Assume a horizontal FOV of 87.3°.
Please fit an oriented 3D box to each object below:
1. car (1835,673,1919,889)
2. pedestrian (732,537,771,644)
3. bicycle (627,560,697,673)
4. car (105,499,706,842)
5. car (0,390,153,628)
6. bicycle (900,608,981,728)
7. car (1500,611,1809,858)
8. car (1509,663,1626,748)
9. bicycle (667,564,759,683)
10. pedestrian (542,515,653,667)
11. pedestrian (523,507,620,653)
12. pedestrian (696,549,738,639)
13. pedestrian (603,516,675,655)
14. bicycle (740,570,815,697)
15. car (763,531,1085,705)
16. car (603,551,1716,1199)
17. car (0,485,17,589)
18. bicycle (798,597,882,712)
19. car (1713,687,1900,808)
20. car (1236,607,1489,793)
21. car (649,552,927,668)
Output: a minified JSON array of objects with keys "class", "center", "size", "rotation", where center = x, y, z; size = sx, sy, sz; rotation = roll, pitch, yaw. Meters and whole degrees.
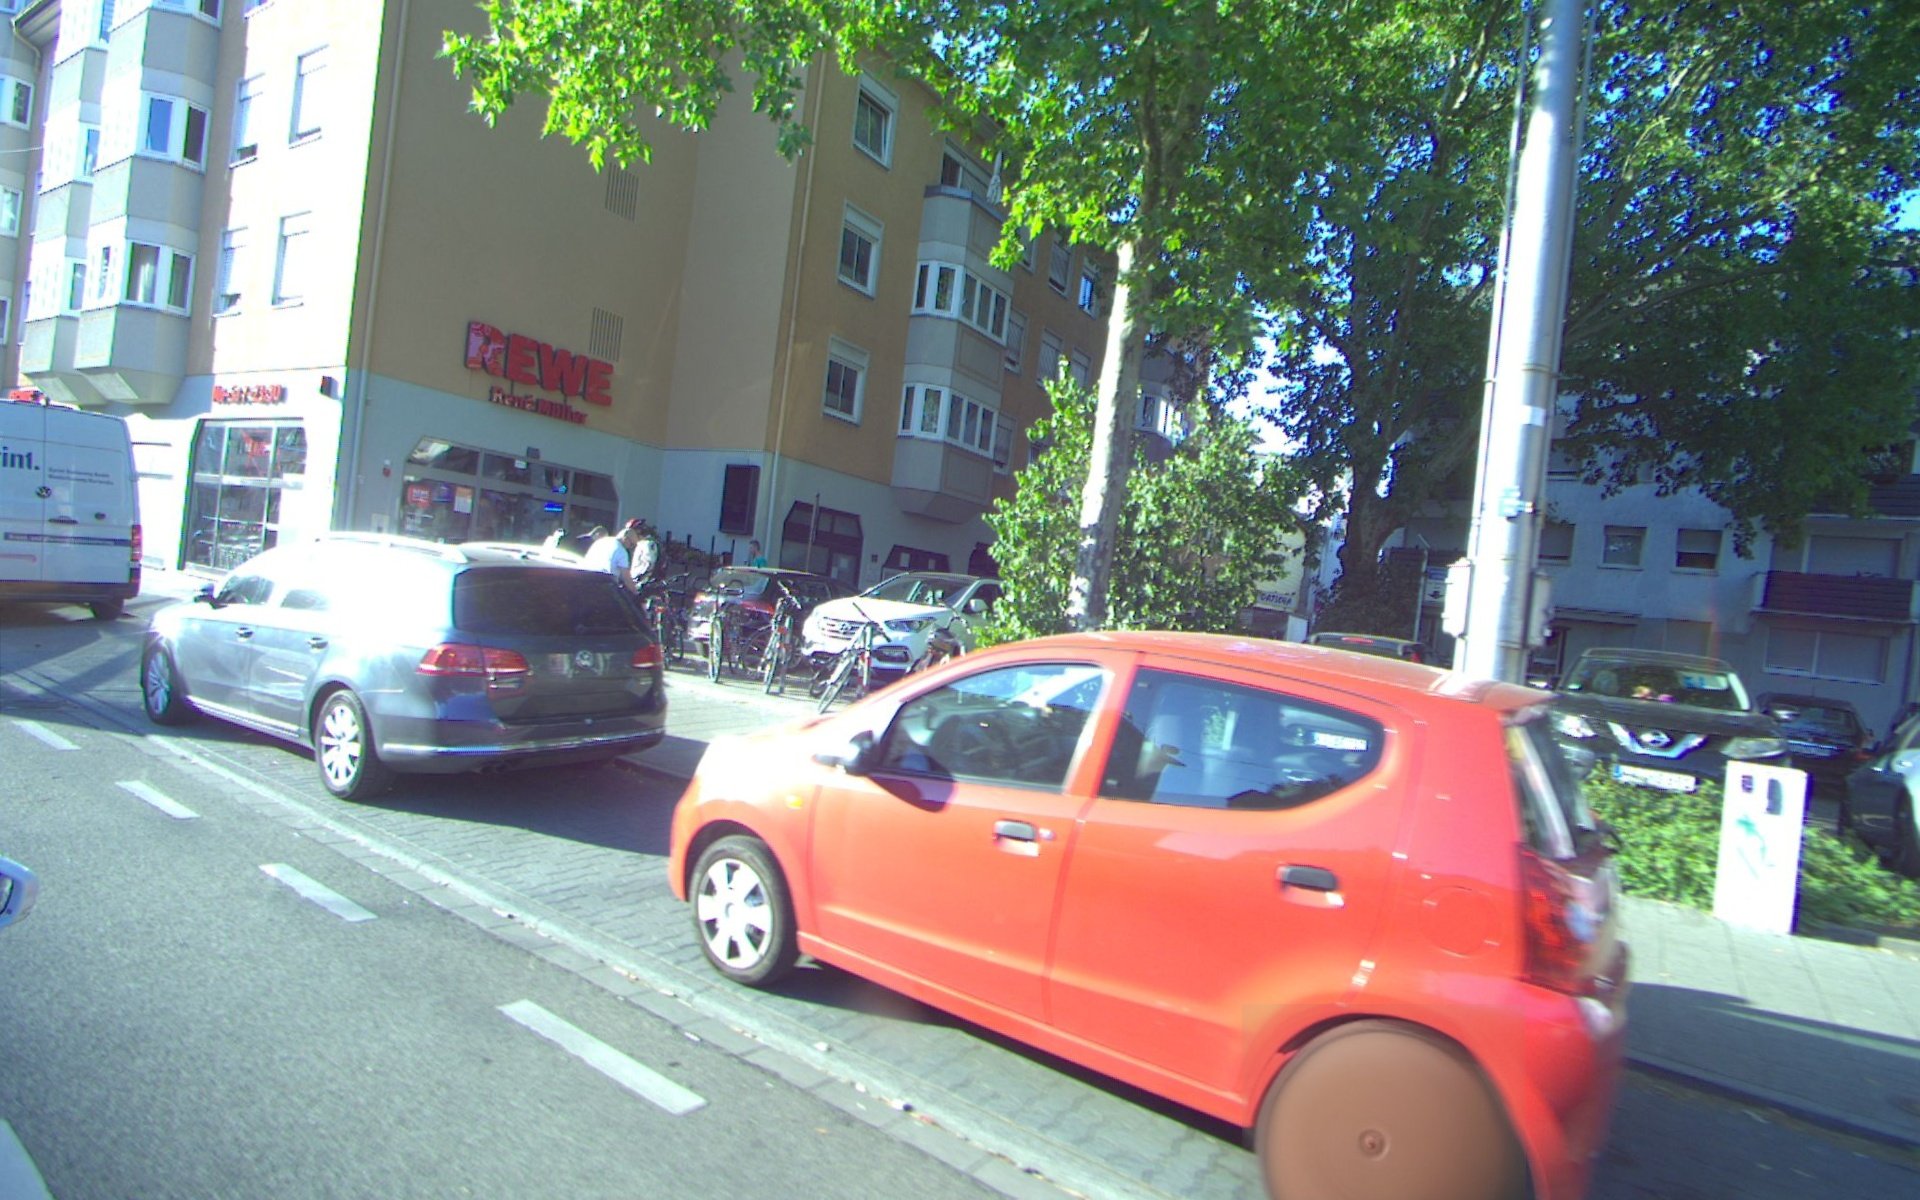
[{"class":"car","center":[8.436,1.543,7.919],"size":[1.828,1.511,3.845],"rotation":[7,-3,36]},{"class":"pedestrian","center":[-3.862,-0.177,18.691],"size":[0.465,1.905,0.574],"rotation":[6,1,-6]},{"class":"bicycle","center":[-3.584,0.184,12.208],"size":[0.396,1.242,1.519],"rotation":[6,0,-5]},{"class":"car","center":[-4.024,0.248,6.968],"size":[4.577,1.551,1.696],"rotation":[6,3,34]},{"class":"car","center":[-12.617,-1.237,12.913],"size":[5.694,2.587,2.014],"rotation":[6,4,35]},{"class":"bicycle","center":[-0.220,0.638,10.130],"size":[0.639,1.026,1.679],"rotation":[6,0,-3]},{"class":"car","center":[6.411,1.231,9.498],"size":[1.826,1.618,4.029],"rotation":[7,-3,34]},{"class":"car","center":[14.356,2.438,23.666],"size":[1.969,1.553,4.050],"rotation":[7,0,35]},{"class":"bicycle","center":[-2.860,0.259,11.796],"size":[0.639,1.242,1.582],"rotation":[6,0,-3]},{"class":"pedestrian","center":[-4.297,-0.116,11.937],"size":[0.973,1.659,0.659],"rotation":[7,4,28]},{"class":"pedestrian","center":[-5.044,-0.260,13.068],"size":[0.756,1.776,0.805],"rotation":[8,5,35]},{"class":"pedestrian","center":[-4.432,-0.102,18.384],"size":[0.413,1.587,0.639],"rotation":[6,1,5]},{"class":"pedestrian","center":[-4.359,-0.200,13.672],"size":[0.639,1.807,0.527],"rotation":[7,5,28]},{"class":"bicycle","center":[-2.022,0.339,11.097],"size":[0.637,1.242,1.579],"rotation":[6,0,-11]},{"class":"car","center":[-0.280,0.369,13.920],"size":[1.968,1.727,4.627],"rotation":[7,-3,34]},{"class":"car","center":[0.470,0.744,3.760],"size":[3.569,1.514,1.568],"rotation":[6,2,35]},{"class":"car","center":[-16.960,-1.215,16.189],"size":[3.726,1.608,1.838],"rotation":[7,0,35]},{"class":"bicycle","center":[-1.199,0.522,10.345],"size":[0.639,1.026,1.582],"rotation":[6,0,-3]},{"class":"car","center":[14.439,2.426,17.406],"size":[1.969,1.553,4.050],"rotation":[7,0,35]},{"class":"car","center":[4.483,1.107,10.904],"size":[1.745,1.499,3.504],"rotation":[7,-3,34]},{"class":"car","center":[-2.505,0.219,15.567],"size":[1.969,1.449,4.016],"rotation":[3,-2,34]}]
